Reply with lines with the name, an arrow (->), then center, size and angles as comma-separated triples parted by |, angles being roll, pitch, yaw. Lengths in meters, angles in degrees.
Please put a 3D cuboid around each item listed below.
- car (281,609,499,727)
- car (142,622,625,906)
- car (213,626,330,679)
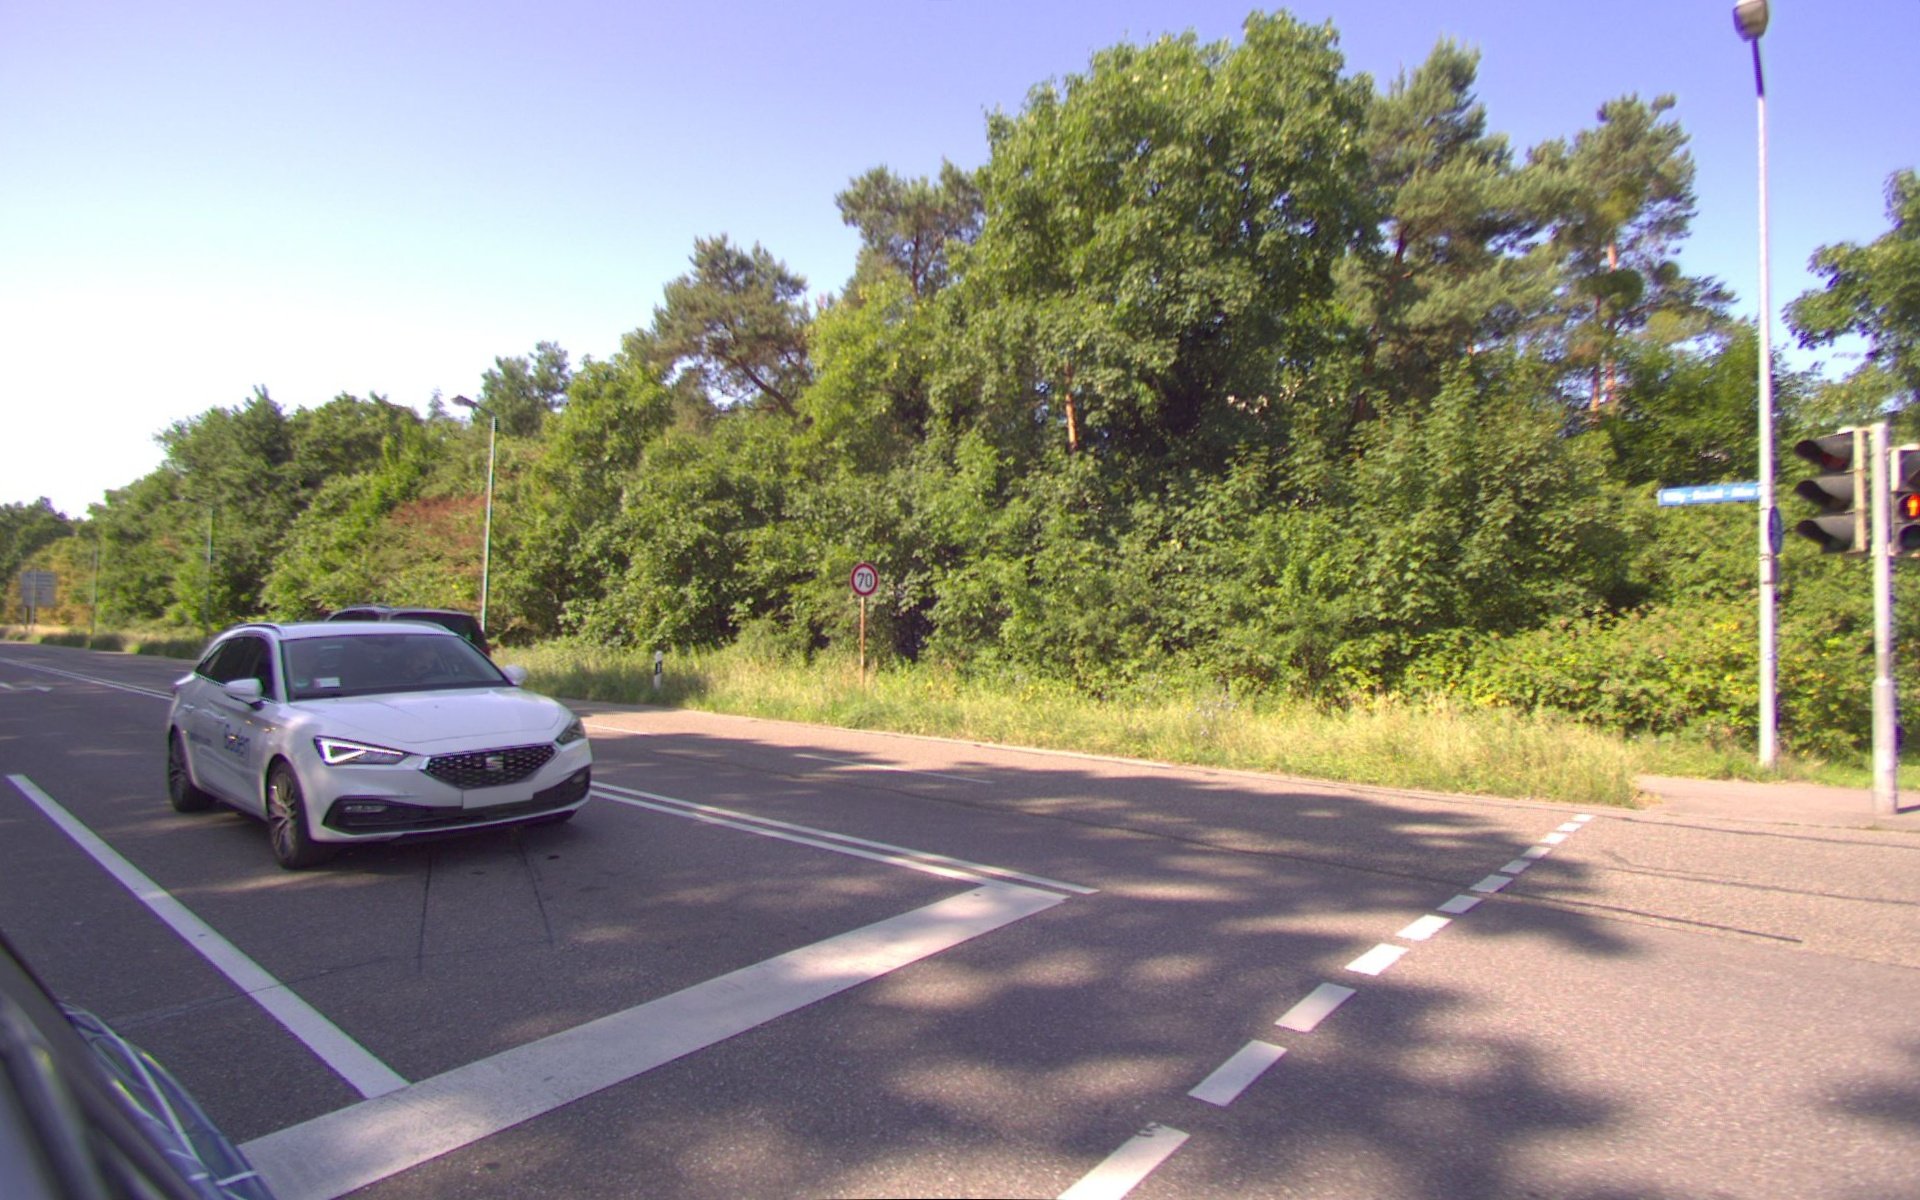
car -> -9.530, 1.046, 16.779 | 4.390, 1.710, 1.772 | -1, -3, 42
car -> -4.405, 0.916, 7.388 | 4.421, 1.435, 1.765 | -2, -1, 42
car -> -20.470, 1.539, 30.025 | 4.457, 1.444, 1.685 | -2, -4, 40
